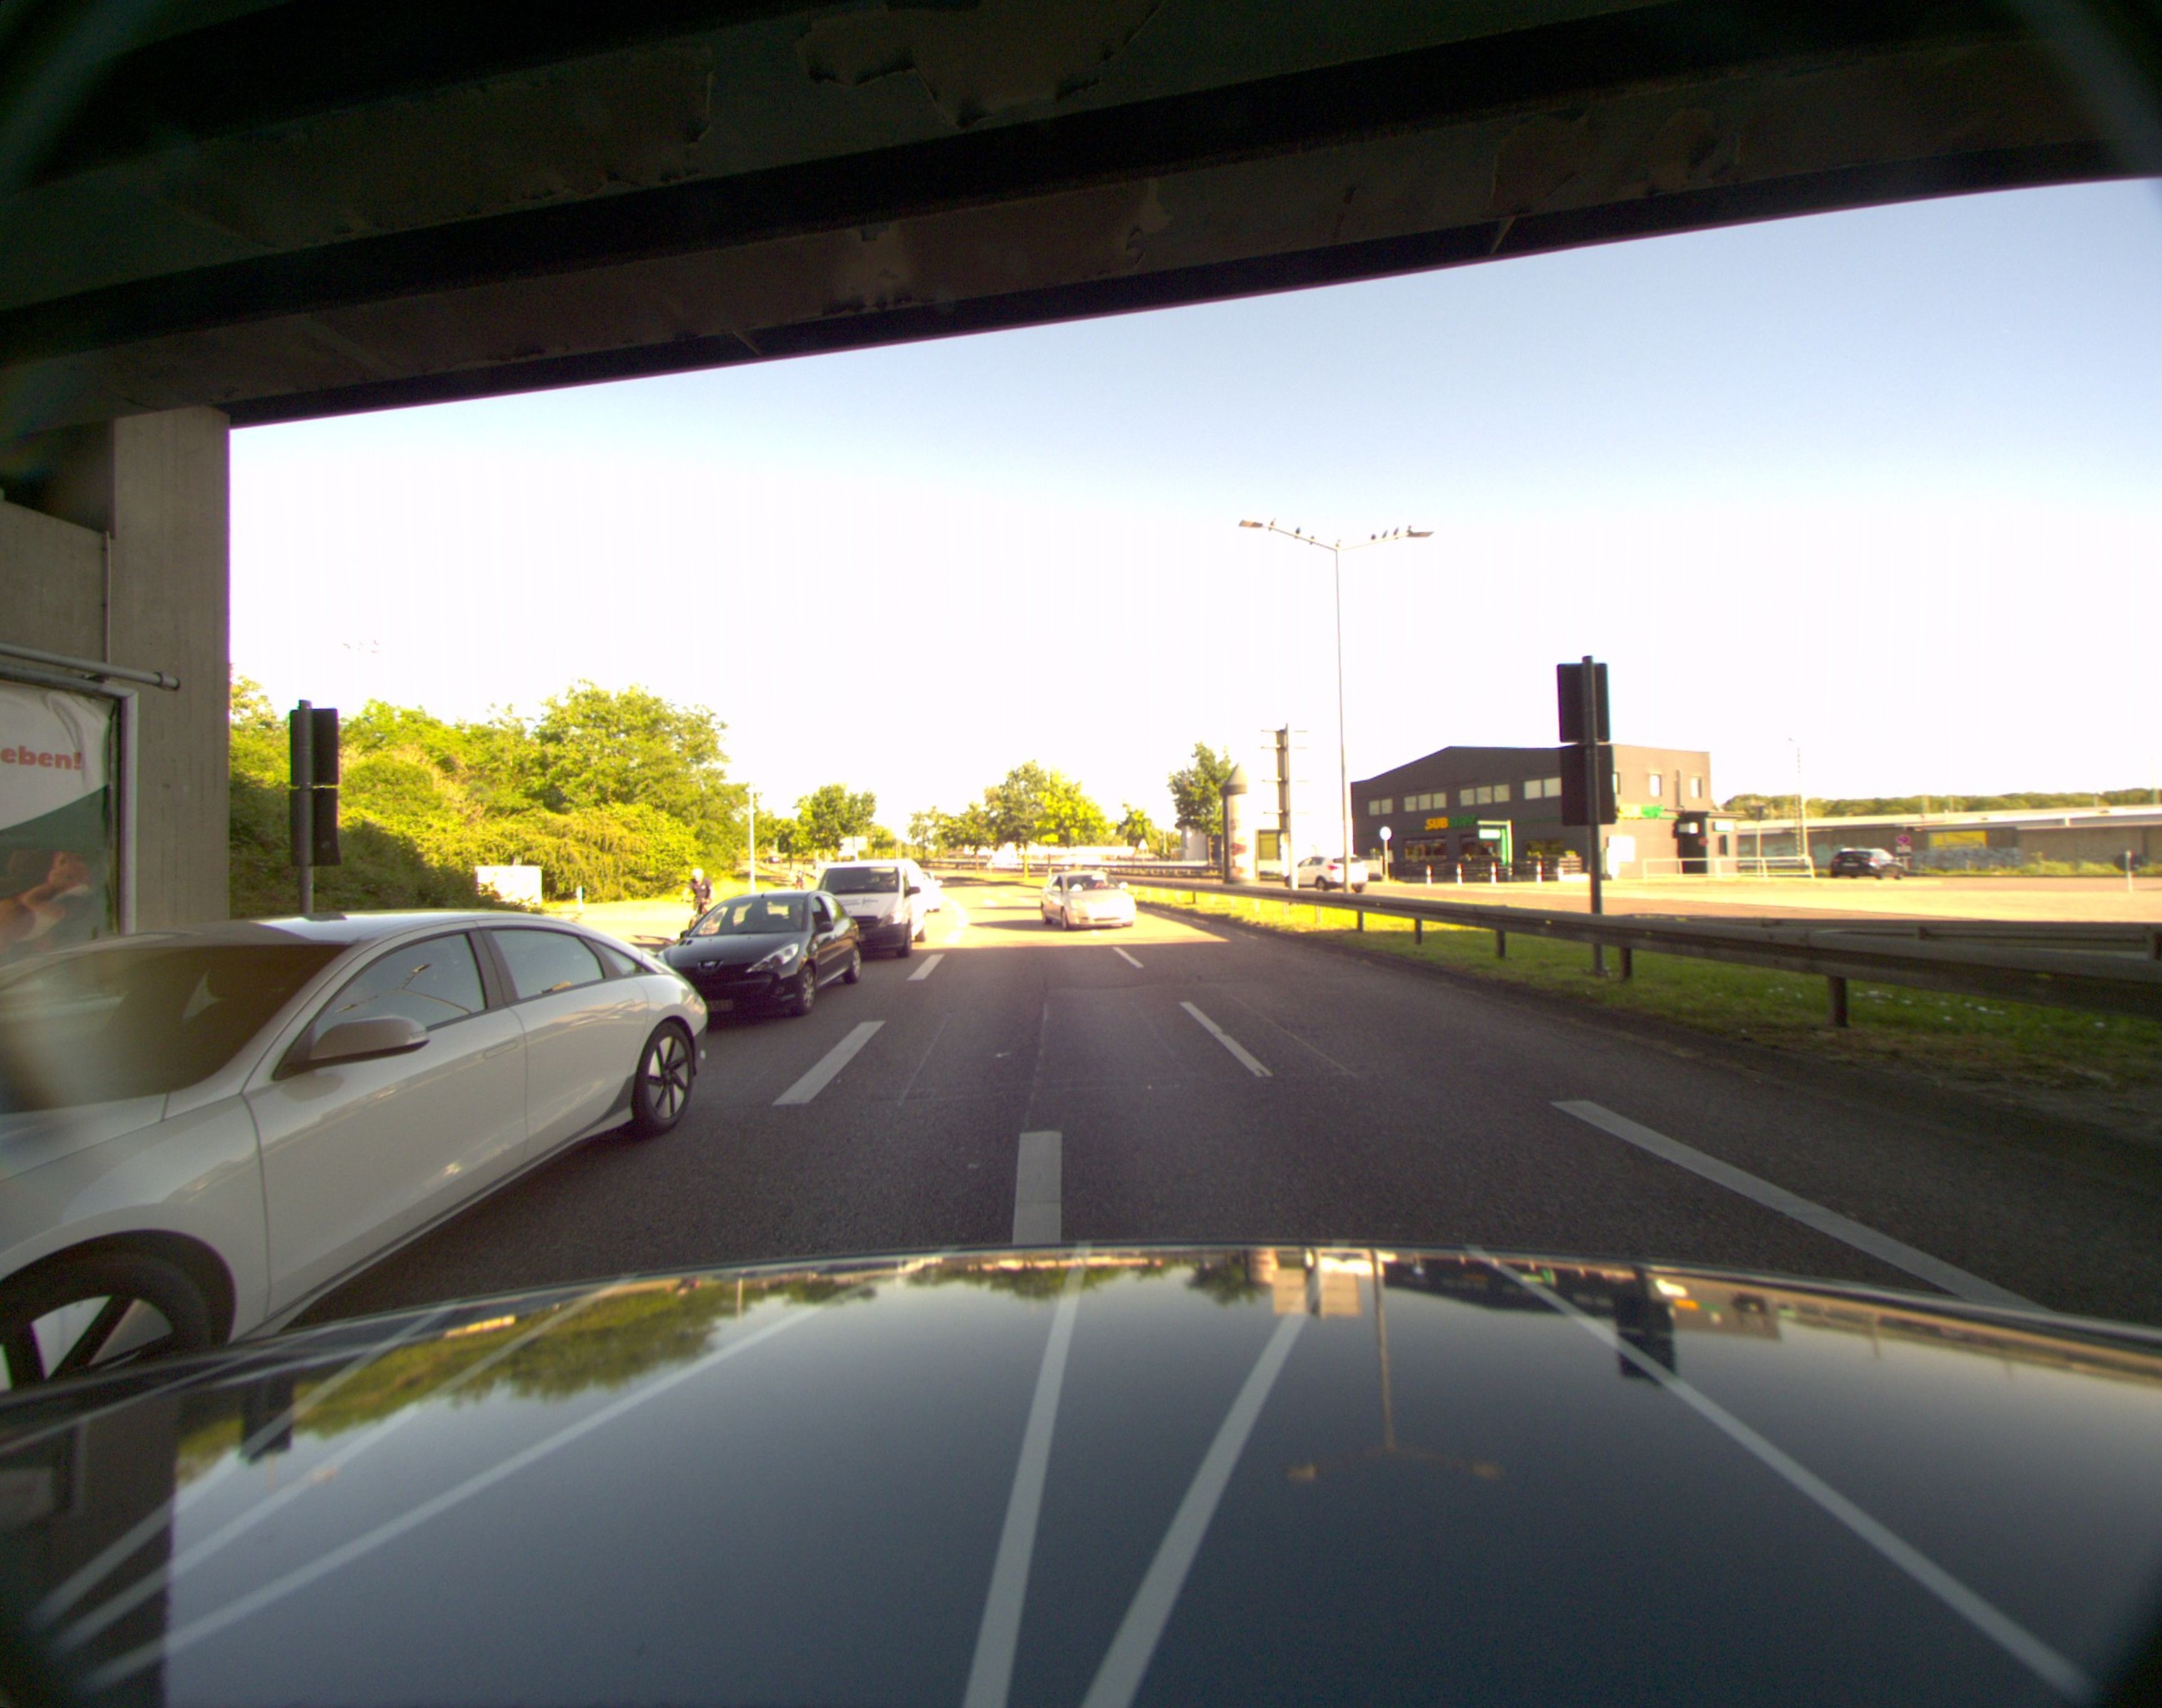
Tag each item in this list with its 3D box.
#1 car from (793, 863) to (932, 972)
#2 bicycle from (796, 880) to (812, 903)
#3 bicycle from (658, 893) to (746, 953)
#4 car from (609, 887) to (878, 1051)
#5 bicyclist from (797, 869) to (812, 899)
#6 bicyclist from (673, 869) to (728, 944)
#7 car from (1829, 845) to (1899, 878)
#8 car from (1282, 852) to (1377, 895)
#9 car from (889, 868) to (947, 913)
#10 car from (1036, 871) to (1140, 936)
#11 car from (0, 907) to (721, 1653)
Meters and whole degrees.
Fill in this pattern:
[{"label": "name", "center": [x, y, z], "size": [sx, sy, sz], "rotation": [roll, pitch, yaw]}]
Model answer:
[{"label": "car", "center": [-4.299, 1.151, 15.727], "size": [1.903, 1.825, 4.833], "rotation": [-2, -1, -6]}, {"label": "bicycle", "center": [-14.561, 1.959, 39.941], "size": [0.654, 1.160, 1.775], "rotation": [2, -1, -24]}, {"label": "bicycle", "center": [-8.780, 1.574, 17.753], "size": [0.767, 1.139, 2.469], "rotation": [-2, 0, 0]}, {"label": "car", "center": [-3.913, 1.245, 9.560], "size": [1.750, 1.447, 3.716], "rotation": [-2, 0, -1]}, {"label": "bicyclist", "center": [-14.537, 1.572, 39.903], "size": [0.656, 1.524, 0.845], "rotation": [2, -1, -24]}, {"label": "bicyclist", "center": [-8.796, 1.200, 17.614], "size": [0.748, 1.646, 0.886], "rotation": [-2, 1, 0]}, {"label": "car", "center": [38.619, 0.378, 37.461], "size": [4.007, 1.433, 1.878], "rotation": [-3, 0, -36]}, {"label": "car", "center": [10.156, 0.753, 31.396], "size": [1.806, 1.597, 4.291], "rotation": [-1, 0, -12]}, {"label": "car", "center": [-6.467, 1.395, 30.598], "size": [2.000, 1.542, 4.417], "rotation": [-2, 0, -9]}, {"label": "car", "center": [0.056, 1.200, 20.065], "size": [1.703, 1.446, 4.393], "rotation": [-1, -1, -13]}, {"label": "car", "center": [-3.398, 1.123, 3.105], "size": [1.750, 1.447, 4.663], "rotation": [-2, 0, -2]}]
